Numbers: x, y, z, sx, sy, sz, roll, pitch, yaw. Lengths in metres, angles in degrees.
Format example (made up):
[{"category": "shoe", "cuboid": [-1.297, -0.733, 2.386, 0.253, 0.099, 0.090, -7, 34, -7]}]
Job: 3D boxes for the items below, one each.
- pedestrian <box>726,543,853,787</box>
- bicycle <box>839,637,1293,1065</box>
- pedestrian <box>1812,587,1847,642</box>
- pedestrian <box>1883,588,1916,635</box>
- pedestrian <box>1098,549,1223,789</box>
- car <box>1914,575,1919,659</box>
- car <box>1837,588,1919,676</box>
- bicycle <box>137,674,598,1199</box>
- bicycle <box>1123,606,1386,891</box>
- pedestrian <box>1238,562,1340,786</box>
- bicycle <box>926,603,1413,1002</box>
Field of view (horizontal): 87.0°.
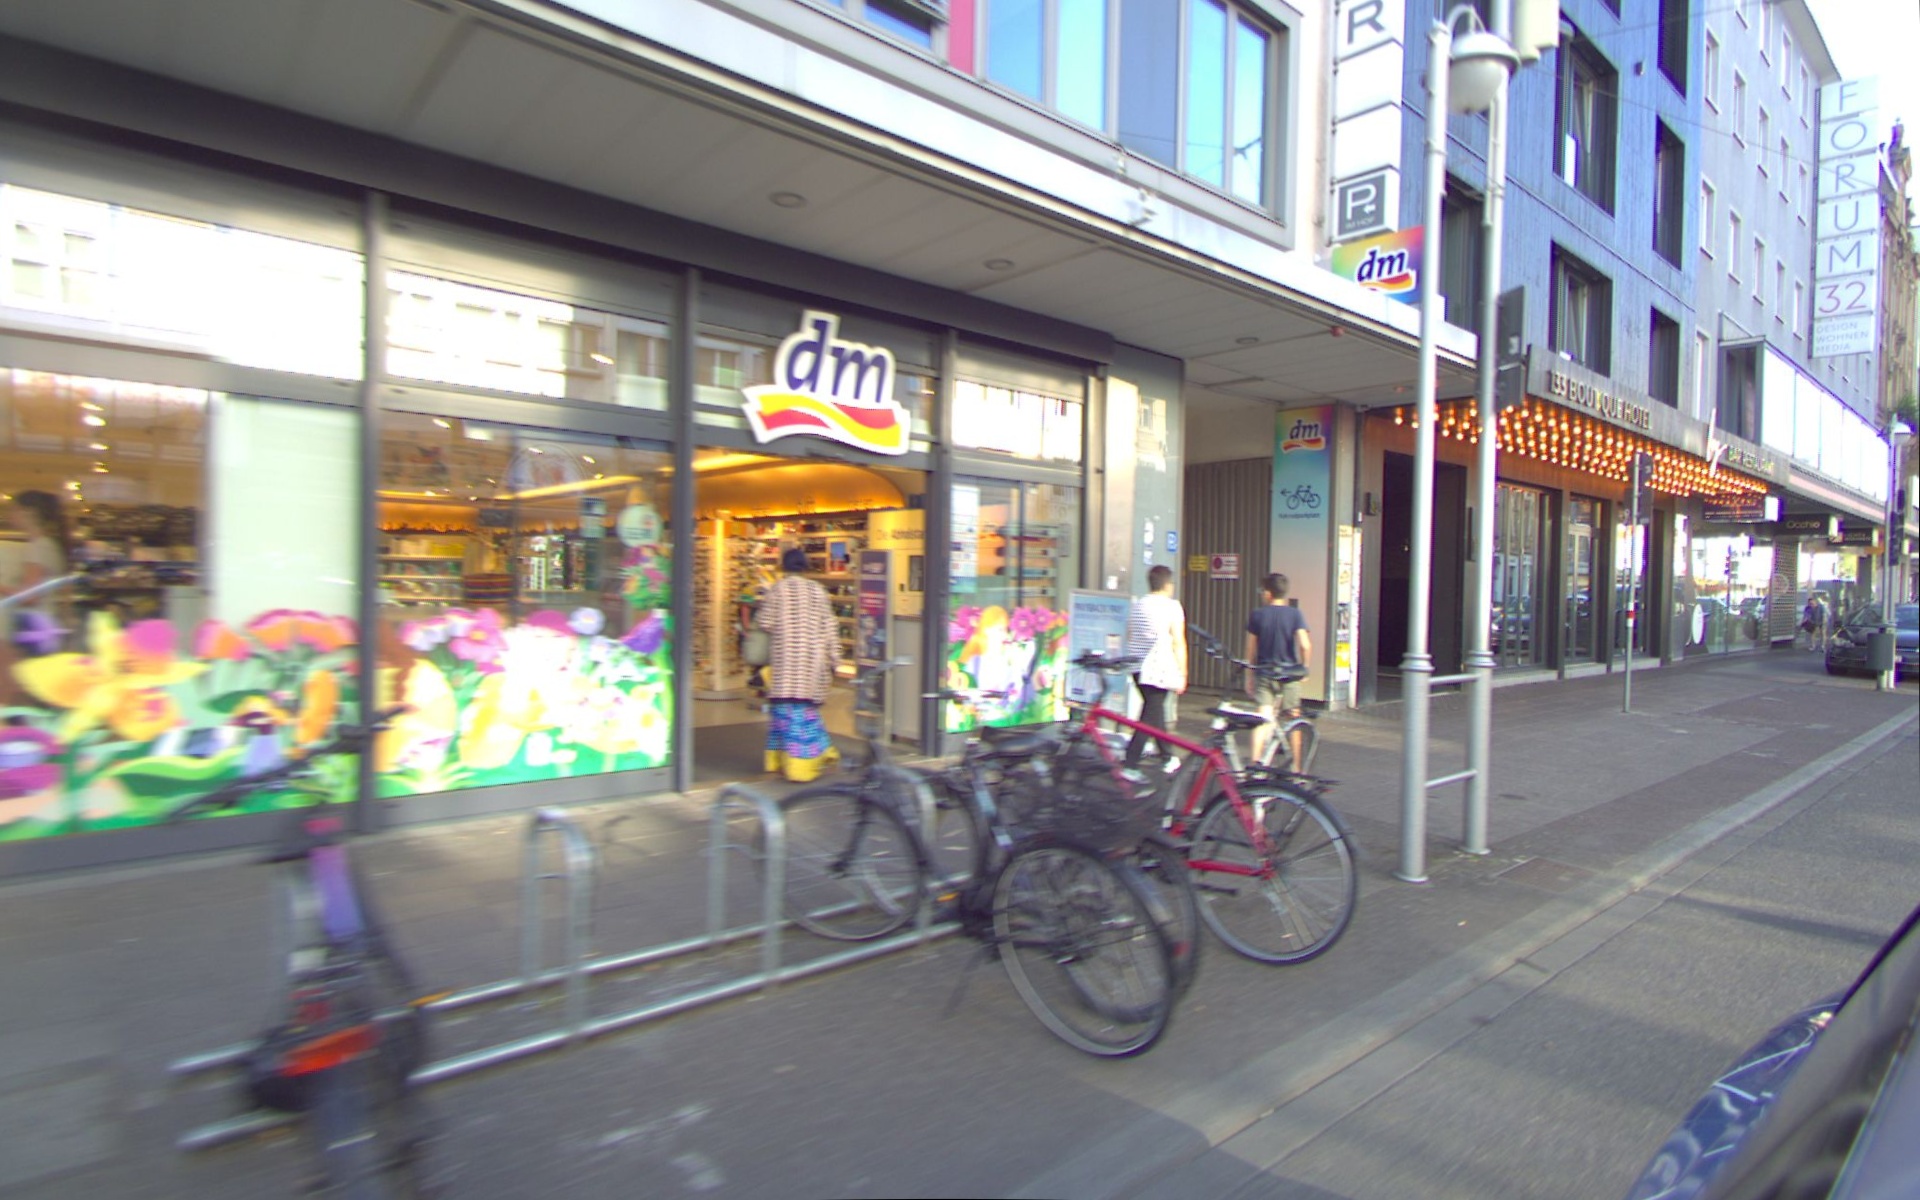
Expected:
[{"category": "pedestrian", "cuboid": [-1.117, 0.391, 6.682, 0.576, 1.504, 0.594, 3, 3, 18]}, {"category": "bicycle", "cuboid": [0.294, 0.782, 3.817, 1.774, 1.144, 0.471, 3, 2, 45]}, {"category": "pedestrian", "cuboid": [24.083, 0.390, 28.023, 0.718, 1.457, 0.576, 0, 3, -41]}, {"category": "pedestrian", "cuboid": [31.043, 0.370, 33.439, 0.800, 1.527, 0.696, 0, 1, -41]}, {"category": "pedestrian", "cuboid": [1.429, 0.453, 7.231, 0.588, 1.605, 0.582, 0, 3, -42]}, {"category": "car", "cuboid": [23.712, 0.402, 23.657, 4.476, 1.882, 1.818, -1, 3, -45]}, {"category": "car", "cuboid": [18.750, 0.574, 19.822, 4.339, 1.502, 1.725, -1, 4, -41]}, {"category": "bicycle", "cuboid": [-1.459, 0.794, 2.302, 0.586, 1.044, 1.777, 0, 2, -41]}, {"category": "bicycle", "cuboid": [1.629, 0.700, 5.462, 1.575, 1.272, 0.582, 0, 4, -43]}, {"category": "pedestrian", "cuboid": [2.340, 0.500, 7.252, 0.575, 1.511, 0.523, 3, 3, 14]}, {"category": "bicycle", "cuboid": [0.790, 0.709, 4.373, 2.034, 1.290, 0.517, 3, 2, 40]}]
